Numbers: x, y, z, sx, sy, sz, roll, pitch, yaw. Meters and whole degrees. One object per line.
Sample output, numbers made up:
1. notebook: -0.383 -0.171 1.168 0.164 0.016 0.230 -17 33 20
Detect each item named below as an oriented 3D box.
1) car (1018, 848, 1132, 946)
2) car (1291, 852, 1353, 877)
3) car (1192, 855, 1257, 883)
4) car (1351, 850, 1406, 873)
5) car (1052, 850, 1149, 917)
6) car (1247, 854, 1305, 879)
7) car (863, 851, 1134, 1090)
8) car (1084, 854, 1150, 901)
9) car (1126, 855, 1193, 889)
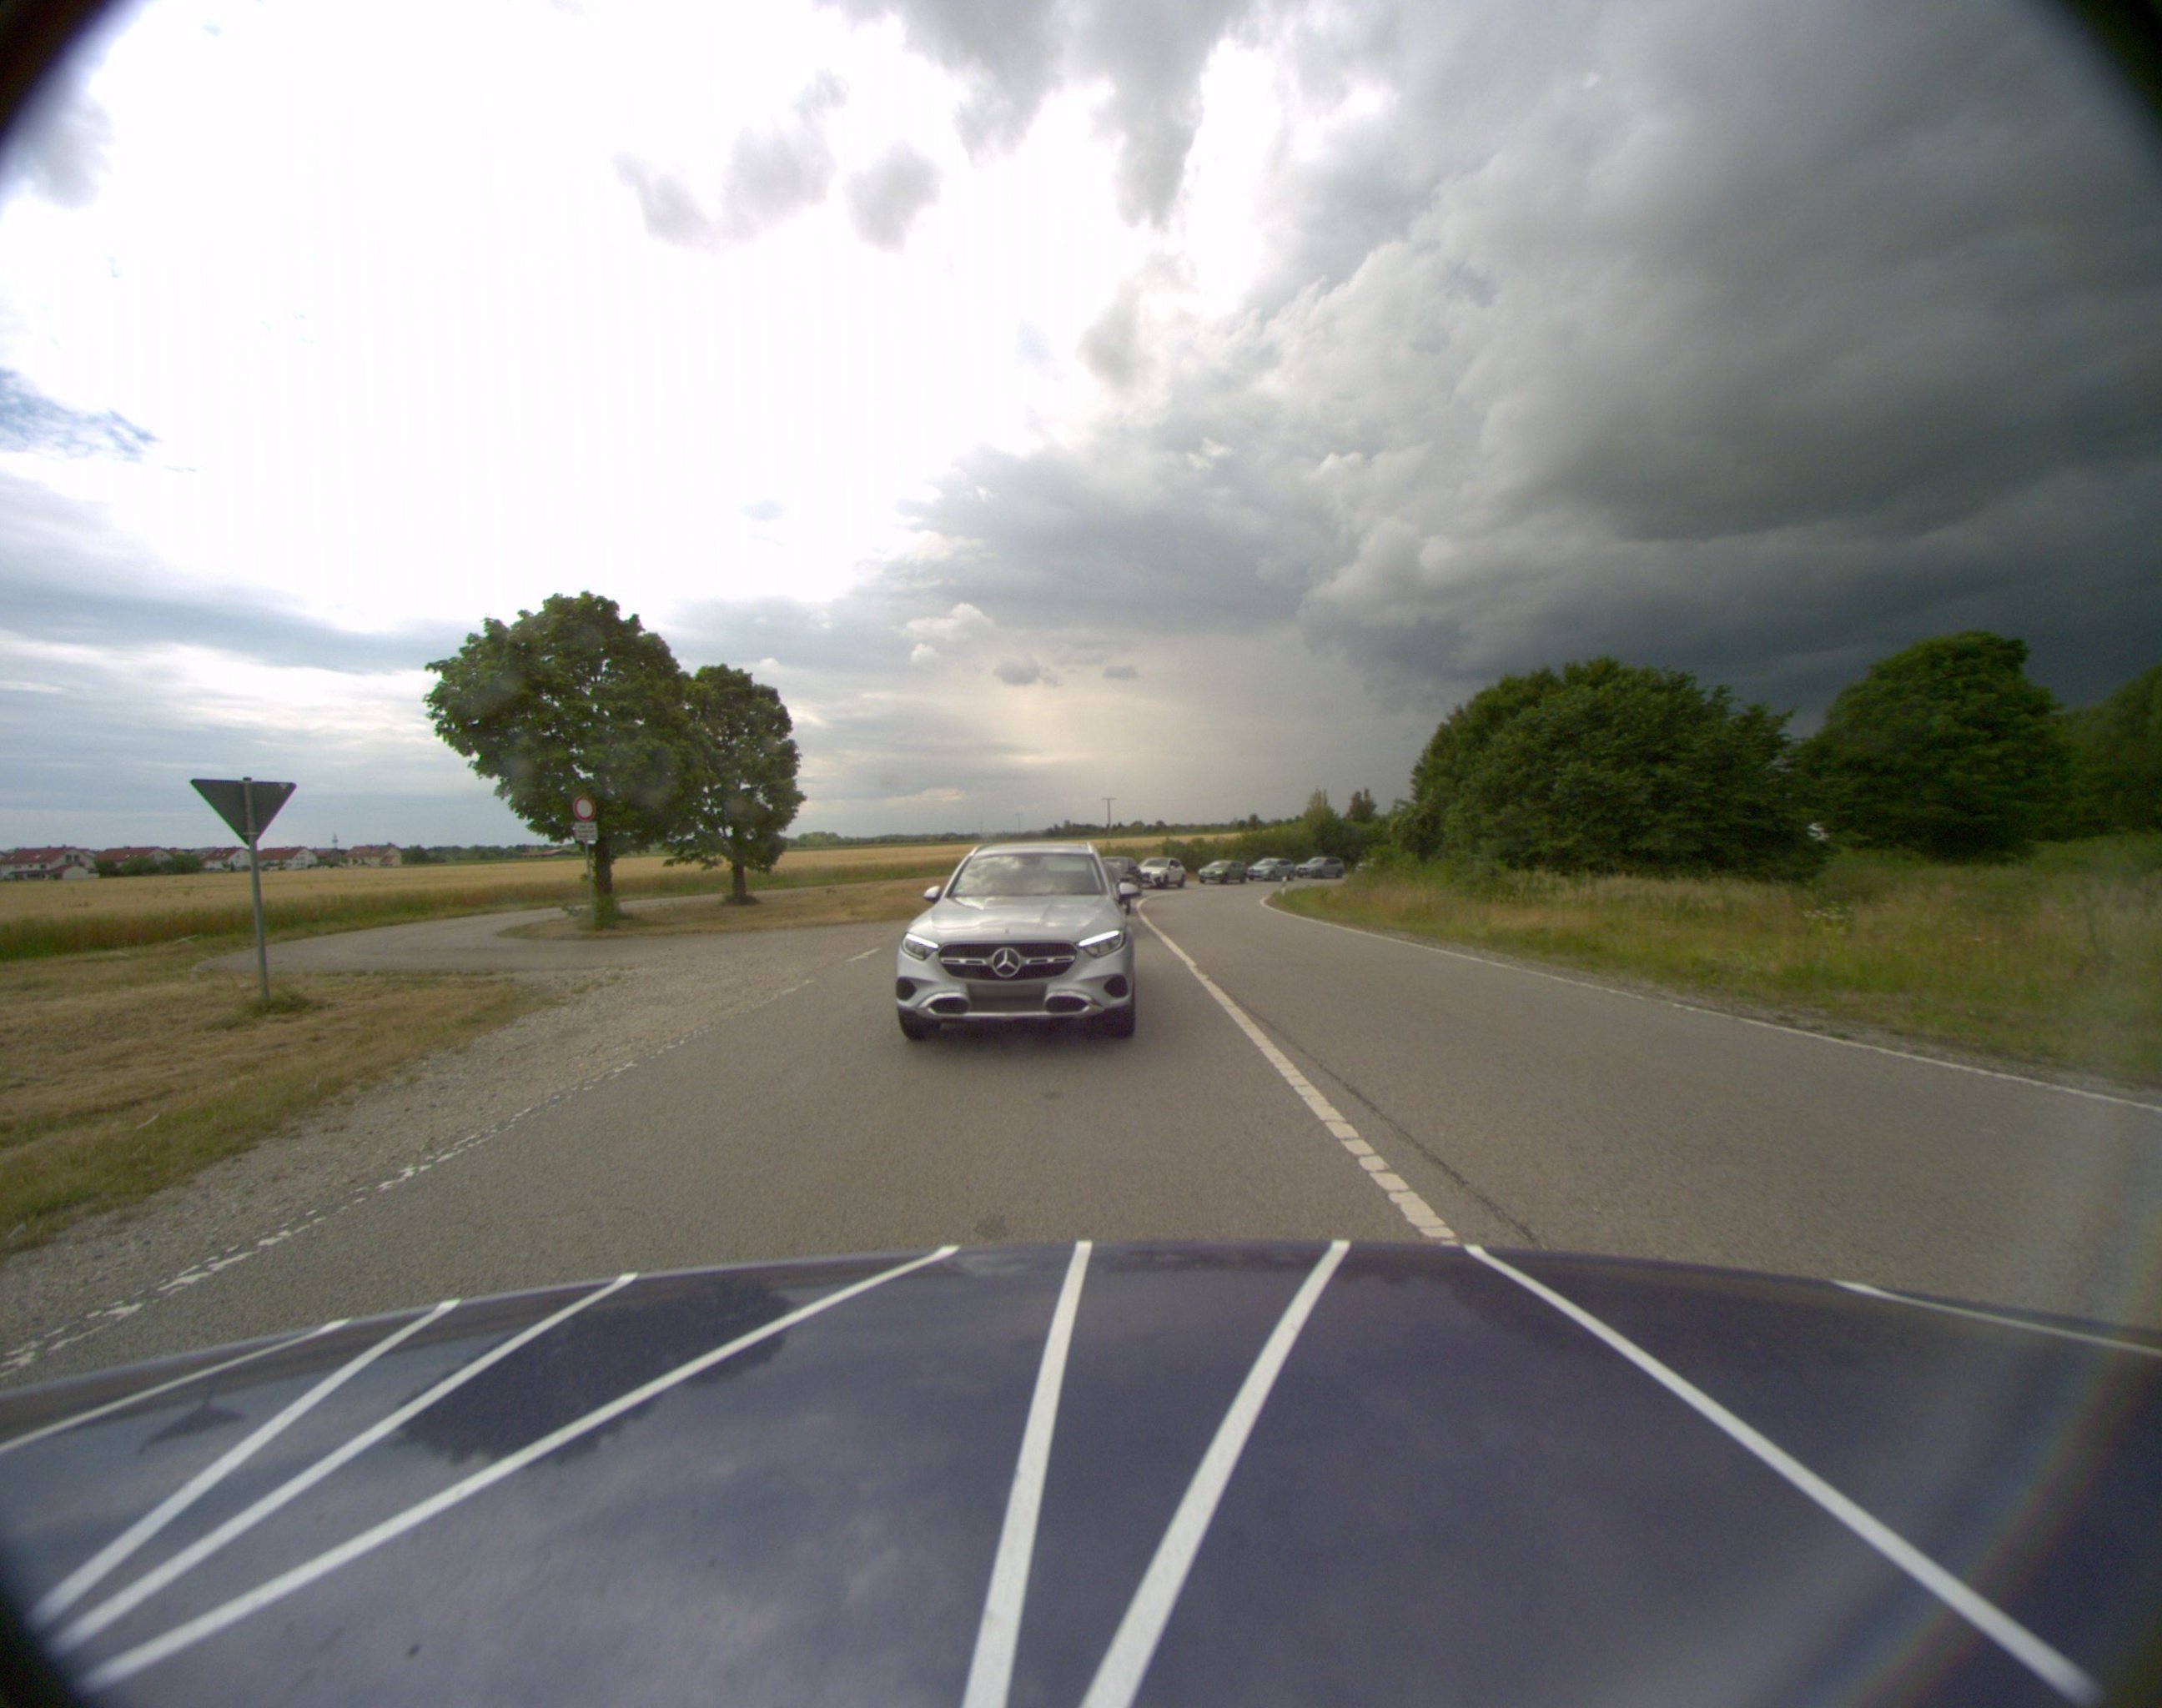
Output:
1. car: 0.061 0.789 16.089 1.998 1.709 5.210 -1 -1 4
2. car: 19.409 0.778 61.064 5.217 1.710 1.994 -2 3 -36
3. car: 9.598 0.925 50.495 1.994 1.710 5.220 2 1 38
4. car: 25.845 0.606 65.915 5.217 1.710 1.994 -2 3 -36
5. car: 0.738 0.823 22.686 1.997 1.709 5.214 1 -1 11
6. car: 14.489 0.868 56.267 1.994 1.710 5.220 2 1 42
7. car: -0.539 0.803 7.504 1.836 1.577 4.449 -2 1 1
8. car: 1.623 0.919 32.200 1.997 1.710 5.213 1 1 11
9. car: 4.443 0.931 42.337 1.995 1.710 5.218 2 1 26
